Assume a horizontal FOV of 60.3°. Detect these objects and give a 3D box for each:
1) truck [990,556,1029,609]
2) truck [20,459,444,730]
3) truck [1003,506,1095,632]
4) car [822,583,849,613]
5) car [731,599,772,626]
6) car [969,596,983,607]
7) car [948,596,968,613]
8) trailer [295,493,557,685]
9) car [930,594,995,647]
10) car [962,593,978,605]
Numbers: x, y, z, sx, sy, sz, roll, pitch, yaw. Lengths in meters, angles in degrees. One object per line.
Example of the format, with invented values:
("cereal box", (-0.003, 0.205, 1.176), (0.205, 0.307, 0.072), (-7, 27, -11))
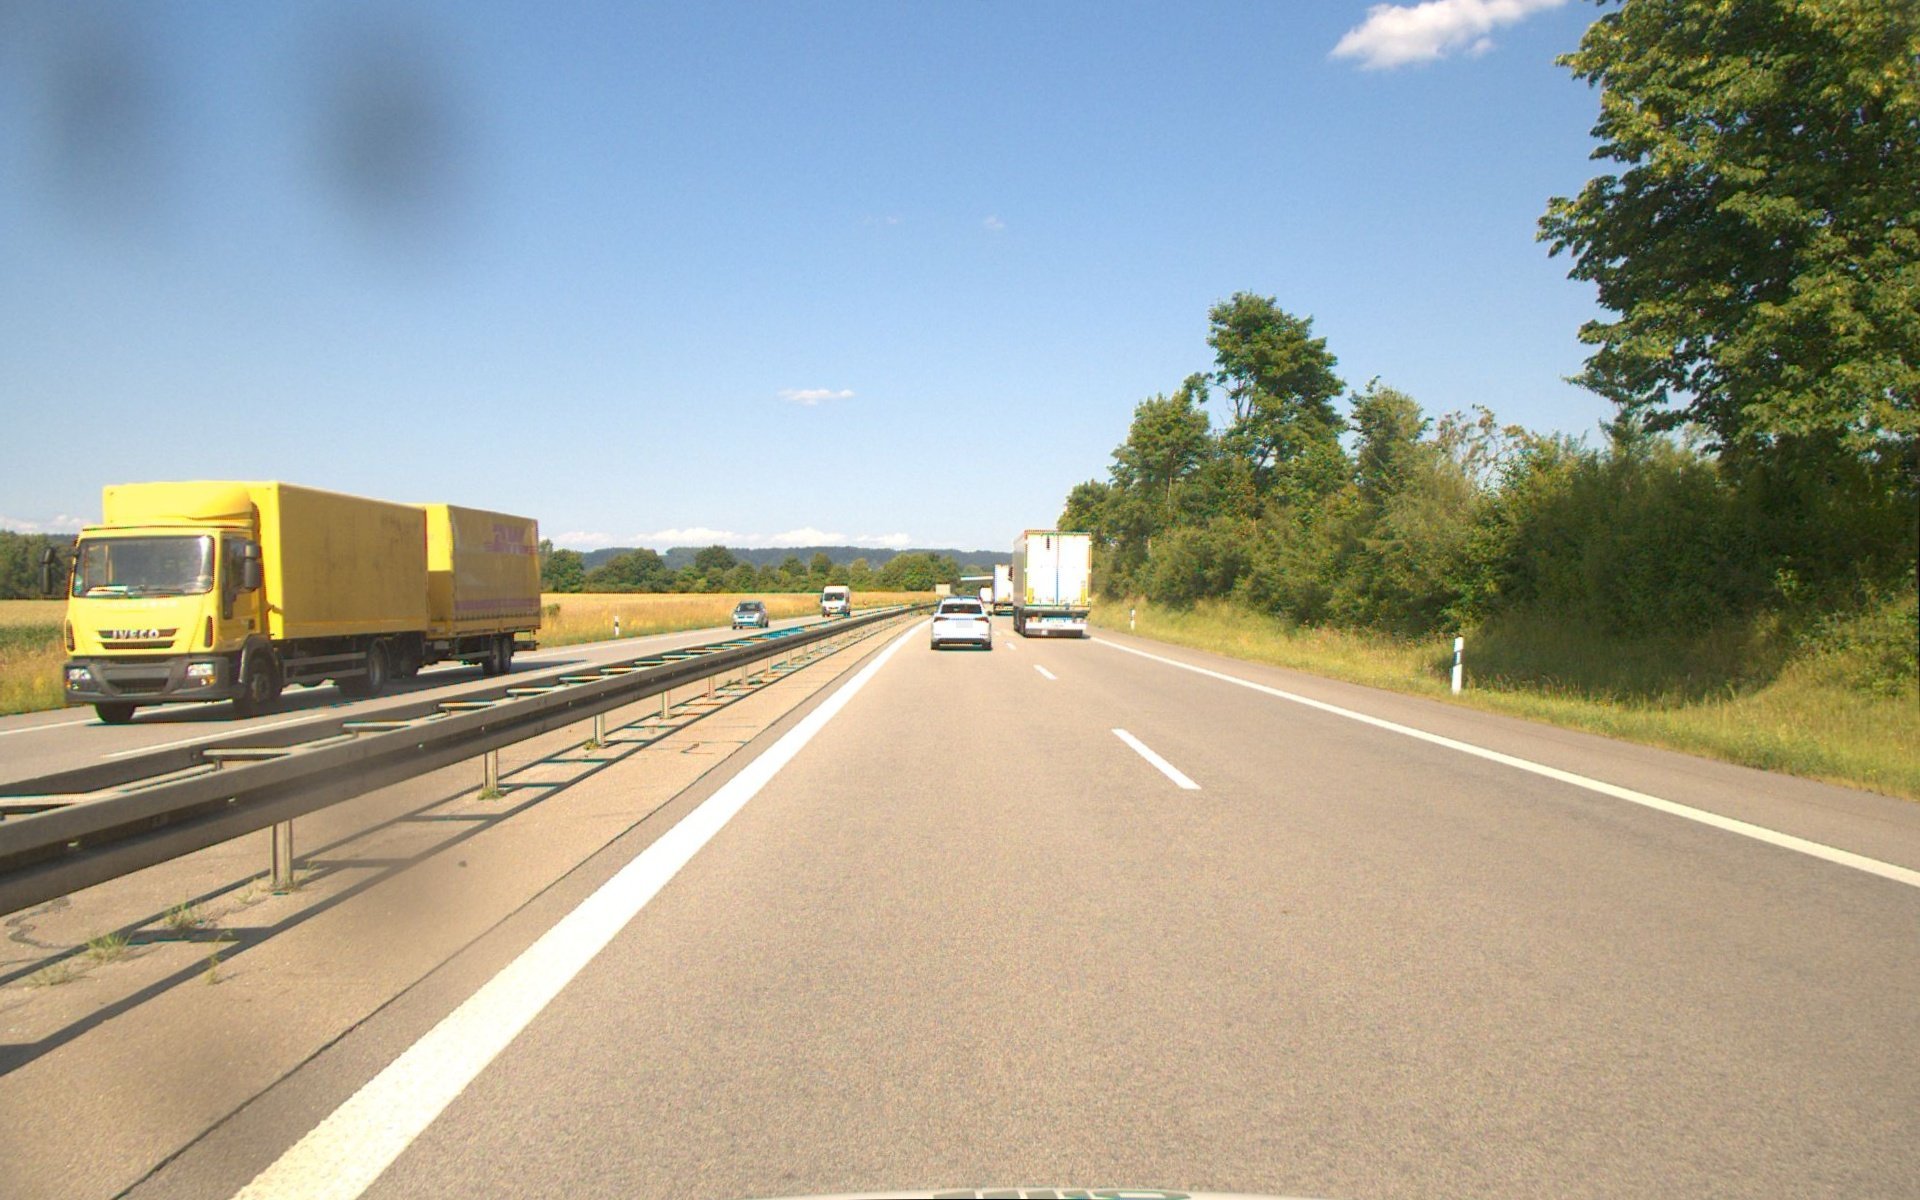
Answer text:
("truck", (4.031, -1.420, 137.158), (2.951, 4.187, 8.905), (-1, 0, 0))
("truck", (-11.145, -0.088, 26.689), (2.680, 3.442, 9.231), (-4, 0, -1))
("truck", (3.470, -1.175, 66.522), (3.088, 4.693, 8.904), (-1, 0, -1))
("car", (-10.490, -0.182, 139.454), (1.886, 2.519, 5.185), (-1, 0, -1))
("car", (-11.451, 0.690, 90.935), (1.798, 1.400, 3.999), (-1, 0, -1))
("car", (2.142, 0.151, 220.319), (1.734, 1.446, 4.365), (1, 0, 1))
("car", (-0.162, 0.413, 149.537), (1.735, 1.446, 4.364), (1, 0, -1))
("trailer", (-11.246, -0.227, 35.949), (2.680, 3.520, 9.231), (-2, 0, -1))
("car", (0.023, 0.554, 48.947), (1.803, 1.446, 5.253), (1, 0, -1))
("car", (1.151, -0.114, 195.971), (1.735, 1.446, 4.363), (1, 0, -2))
